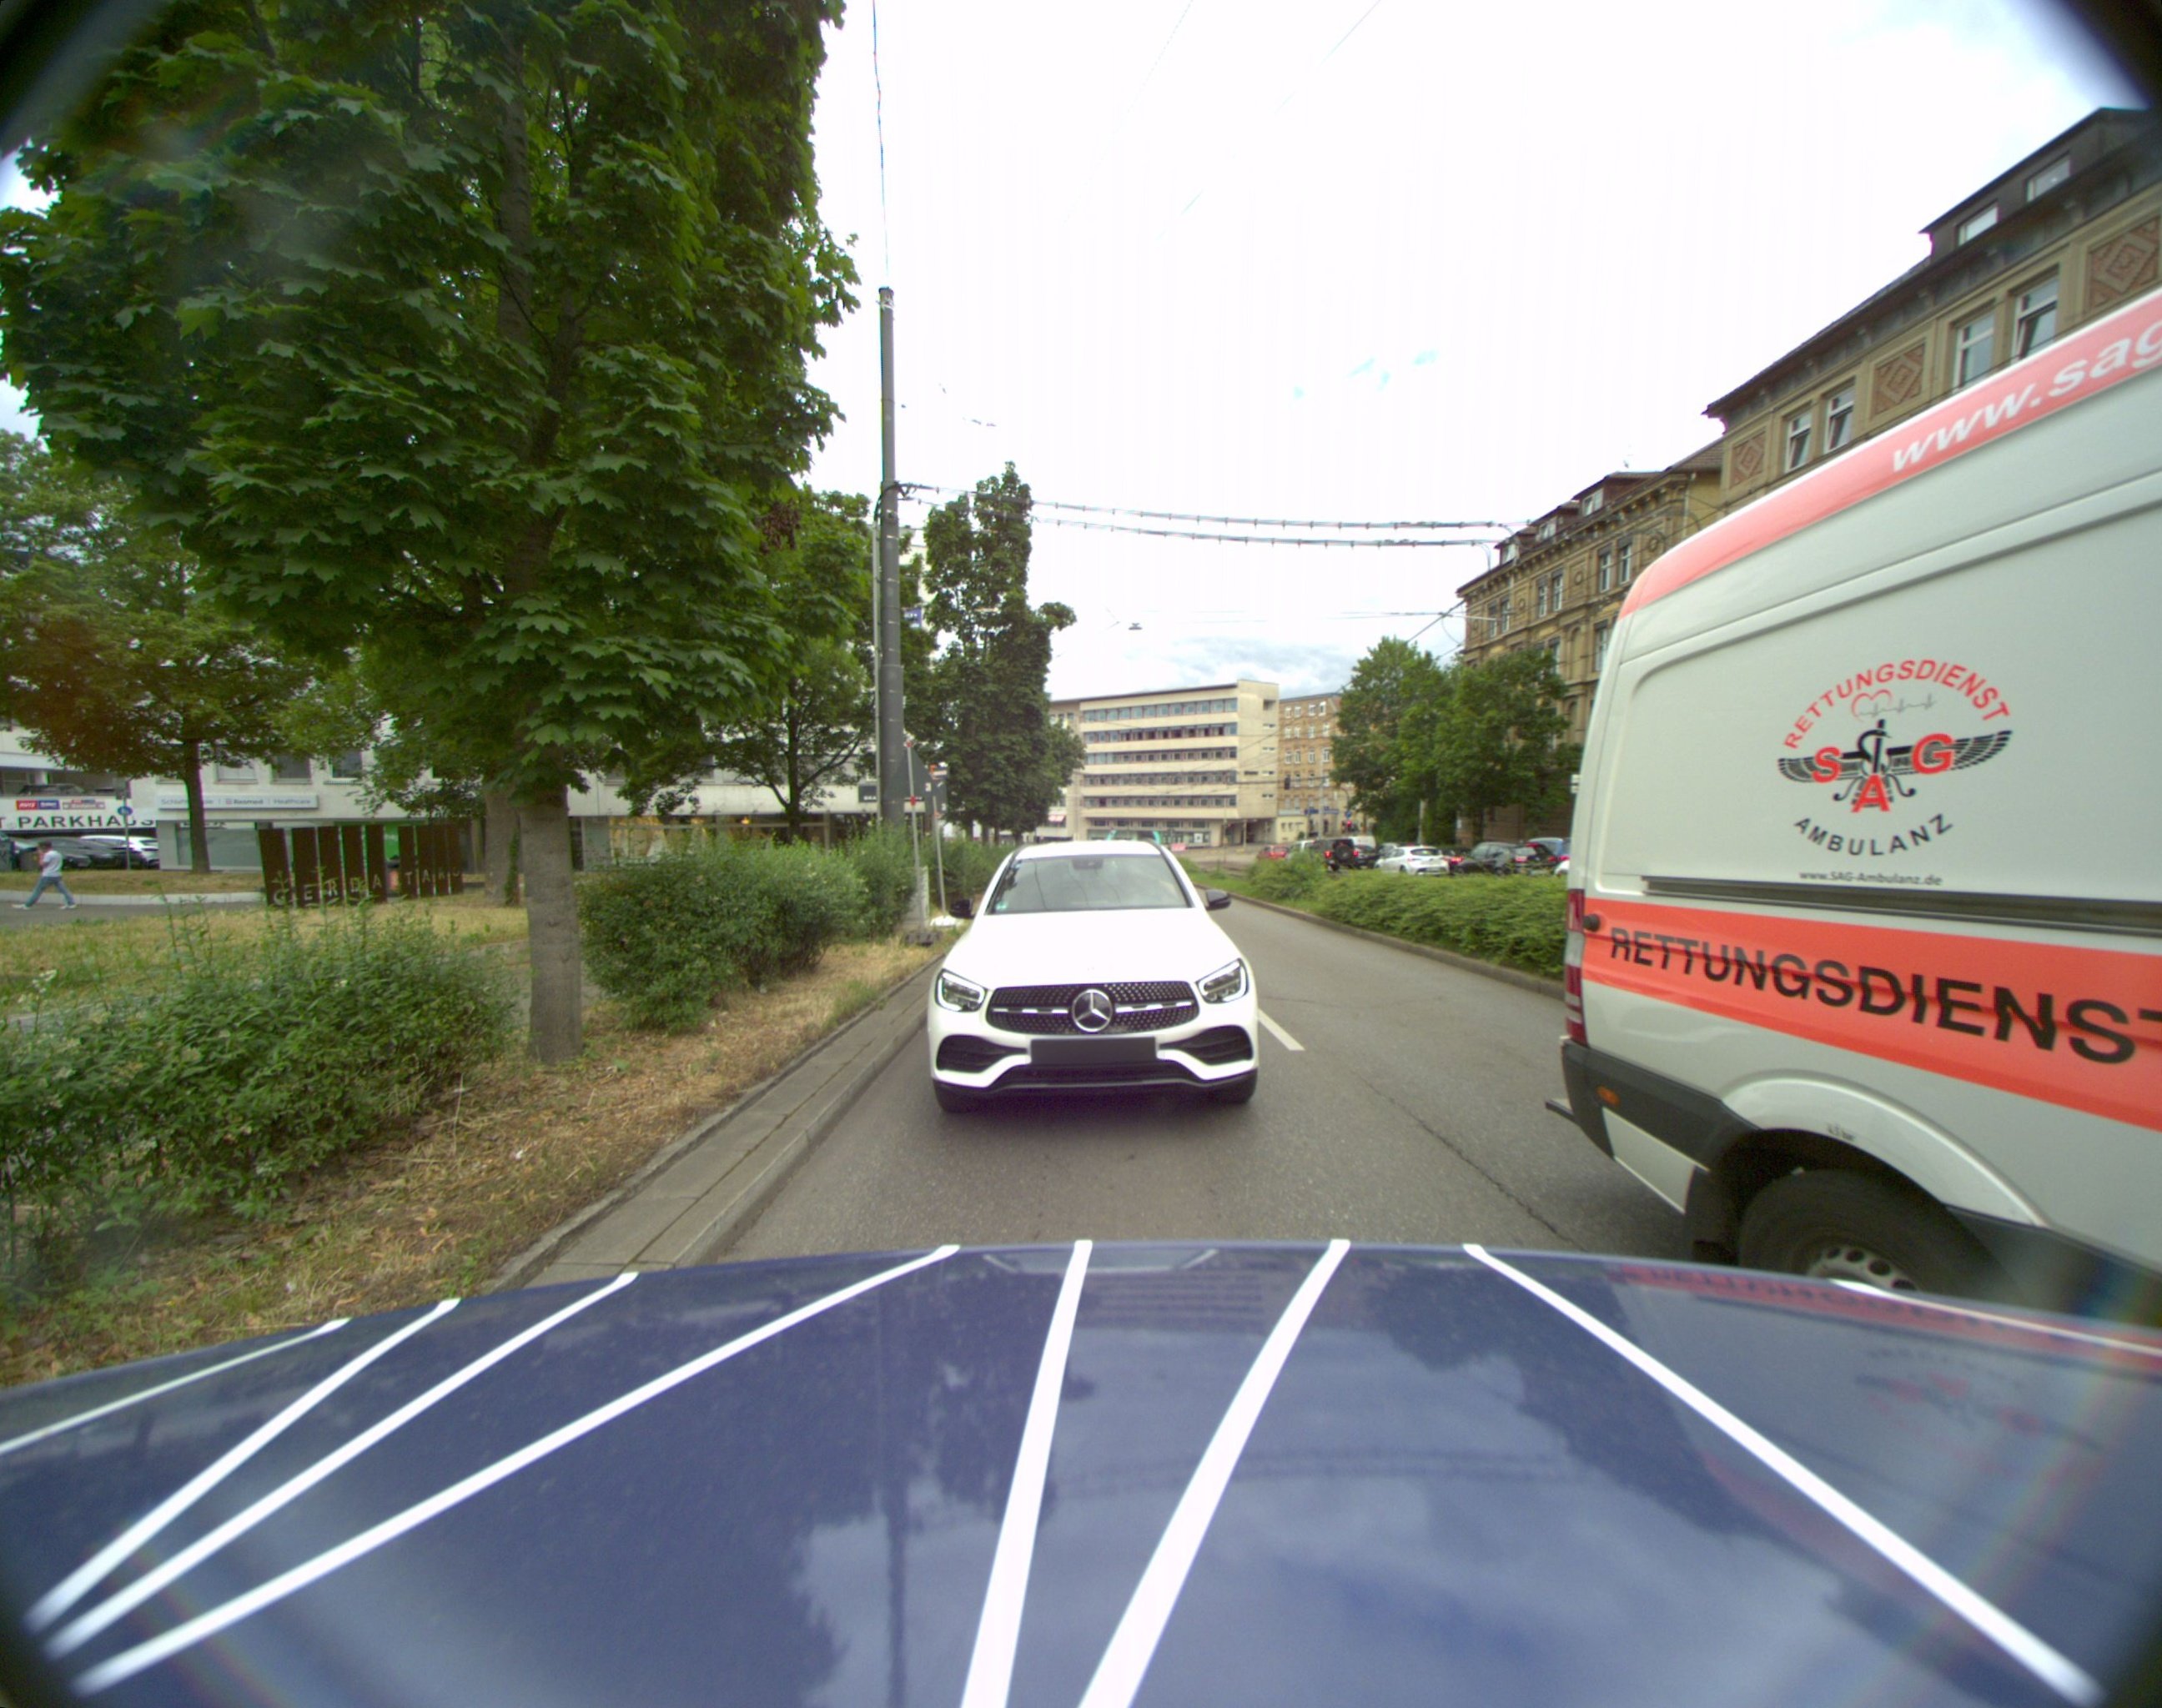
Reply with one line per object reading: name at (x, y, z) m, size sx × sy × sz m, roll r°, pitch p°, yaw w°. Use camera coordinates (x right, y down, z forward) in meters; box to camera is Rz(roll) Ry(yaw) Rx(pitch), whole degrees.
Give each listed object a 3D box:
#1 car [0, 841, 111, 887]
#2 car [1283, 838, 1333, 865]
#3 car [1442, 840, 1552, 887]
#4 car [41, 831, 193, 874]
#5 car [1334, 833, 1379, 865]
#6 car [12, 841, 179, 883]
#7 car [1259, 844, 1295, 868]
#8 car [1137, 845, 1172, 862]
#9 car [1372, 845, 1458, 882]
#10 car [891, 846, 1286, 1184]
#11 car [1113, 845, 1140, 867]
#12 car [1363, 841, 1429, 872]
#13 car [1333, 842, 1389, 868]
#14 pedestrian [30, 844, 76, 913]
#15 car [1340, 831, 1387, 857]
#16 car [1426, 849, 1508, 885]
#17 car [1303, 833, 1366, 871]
car at (-41.018, 0.370, 29.368) m, size 4.000 × 1.707 × 1.998 m, roll 0°, pitch 1°, yaw -10°
car at (14.179, -0.176, 47.700) m, size 1.998 × 1.575 × 3.999 m, roll 0°, pitch 1°, yaw 1°
car at (14.319, 0.283, 26.405) m, size 1.759 × 1.521 × 3.759 m, roll 0°, pitch 1°, yaw 1°
car at (-43.277, -0.081, 34.216) m, size 4.001 × 1.677 × 1.687 m, roll -3°, pitch 1°, yaw -12°
car at (19.302, -0.365, 53.381) m, size 1.794 × 2.109 × 3.916 m, roll 0°, pitch 1°, yaw 1°
car at (-41.672, 0.325, 32.244) m, size 4.000 × 1.707 × 1.998 m, roll 0°, pitch 1°, yaw -10°
car at (13.952, 0.127, 54.228) m, size 1.681 × 1.620 × 3.844 m, roll 0°, pitch 1°, yaw 1°
car at (6.936, -0.056, 71.432) m, size 1.995 × 1.543 × 4.324 m, roll 0°, pitch 0°, yaw 24°
car at (14.344, 0.357, 32.868) m, size 1.899 × 1.487 × 3.999 m, roll 0°, pitch 1°, yaw -1°
car at (0.010, 0.767, 5.934) m, size 1.894 × 1.610 × 4.477 m, roll -1°, pitch 0°, yaw -1°
car at (3.544, 0.123, 60.123) m, size 1.930 × 1.563 × 4.181 m, roll -2°, pitch 0°, yaw 2°
car at (16.682, 0.094, 40.470) m, size 1.759 × 1.560 × 3.999 m, roll 0°, pitch 1°, yaw -1°
car at (16.671, 0.011, 45.474) m, size 1.888 × 1.502 × 3.999 m, roll 0°, pitch 1°, yaw 1°
pedestrian at (-23.455, 0.541, 17.334) m, size 0.672 × 1.524 × 0.529 m, roll 1°, pitch 1°, yaw 30°
car at (21.142, -0.772, 57.087) m, size 1.848 × 1.904 × 3.998 m, roll 0°, pitch 1°, yaw -3°
car at (16.871, 0.532, 33.374) m, size 1.726 × 1.443 × 3.747 m, roll 0°, pitch 1°, yaw 1°
car at (14.160, -0.121, 42.713) m, size 2.147 × 2.002 × 4.748 m, roll 0°, pitch 1°, yaw 3°
